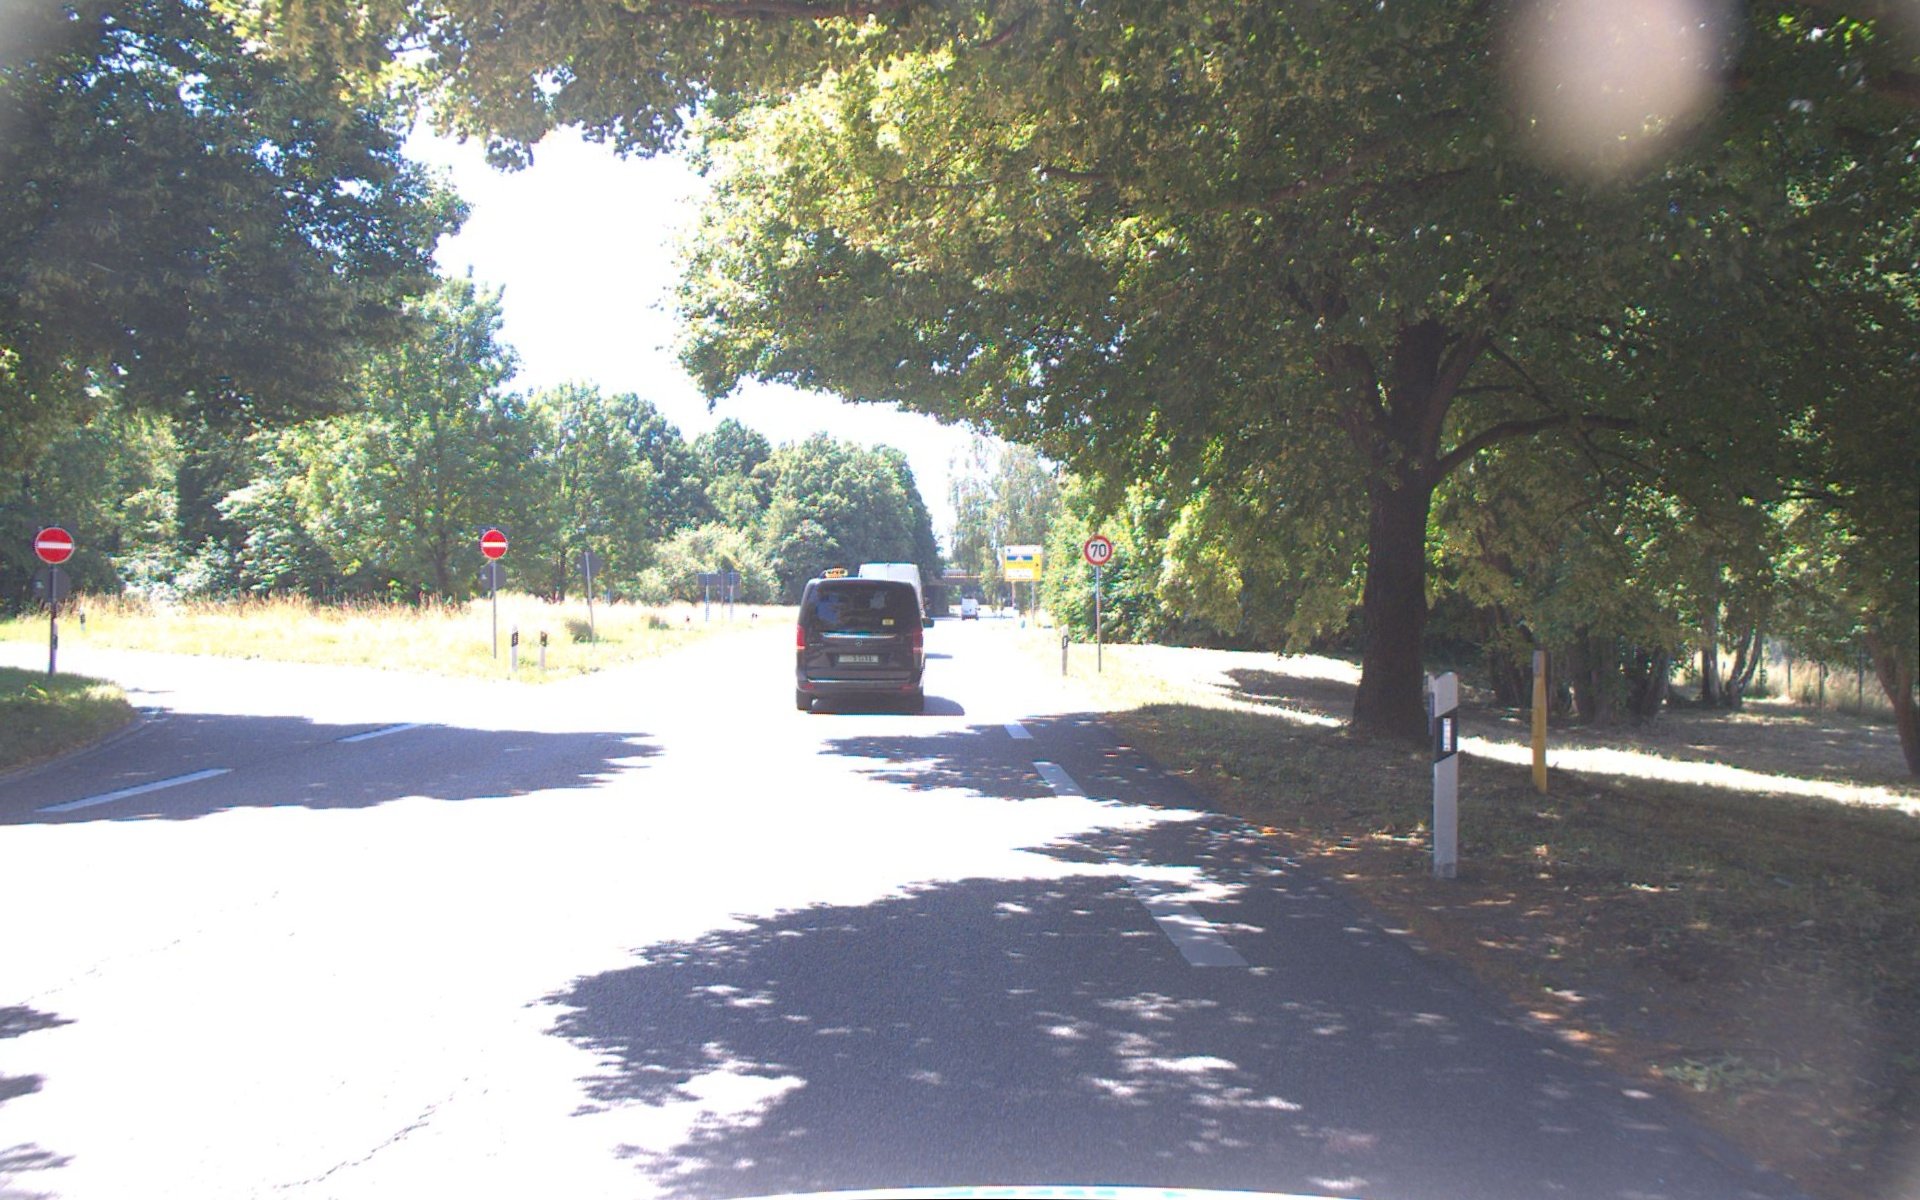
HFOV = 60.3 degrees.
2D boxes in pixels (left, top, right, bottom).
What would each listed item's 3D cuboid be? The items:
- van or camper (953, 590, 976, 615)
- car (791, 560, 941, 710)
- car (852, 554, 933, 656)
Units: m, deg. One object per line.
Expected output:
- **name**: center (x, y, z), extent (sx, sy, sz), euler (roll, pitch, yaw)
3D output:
- **van or camper**: center (0.547, 0.326, 208.011), extent (2.579, 2.980, 5.204), euler (1, -1, -2)
- **car**: center (-1.313, 0.500, 25.108), extent (1.953, 1.987, 5.004), euler (2, 0, 0)
- **car**: center (-1.882, 0.156, 47.722), extent (2.035, 2.750, 4.666), euler (2, -1, 0)
